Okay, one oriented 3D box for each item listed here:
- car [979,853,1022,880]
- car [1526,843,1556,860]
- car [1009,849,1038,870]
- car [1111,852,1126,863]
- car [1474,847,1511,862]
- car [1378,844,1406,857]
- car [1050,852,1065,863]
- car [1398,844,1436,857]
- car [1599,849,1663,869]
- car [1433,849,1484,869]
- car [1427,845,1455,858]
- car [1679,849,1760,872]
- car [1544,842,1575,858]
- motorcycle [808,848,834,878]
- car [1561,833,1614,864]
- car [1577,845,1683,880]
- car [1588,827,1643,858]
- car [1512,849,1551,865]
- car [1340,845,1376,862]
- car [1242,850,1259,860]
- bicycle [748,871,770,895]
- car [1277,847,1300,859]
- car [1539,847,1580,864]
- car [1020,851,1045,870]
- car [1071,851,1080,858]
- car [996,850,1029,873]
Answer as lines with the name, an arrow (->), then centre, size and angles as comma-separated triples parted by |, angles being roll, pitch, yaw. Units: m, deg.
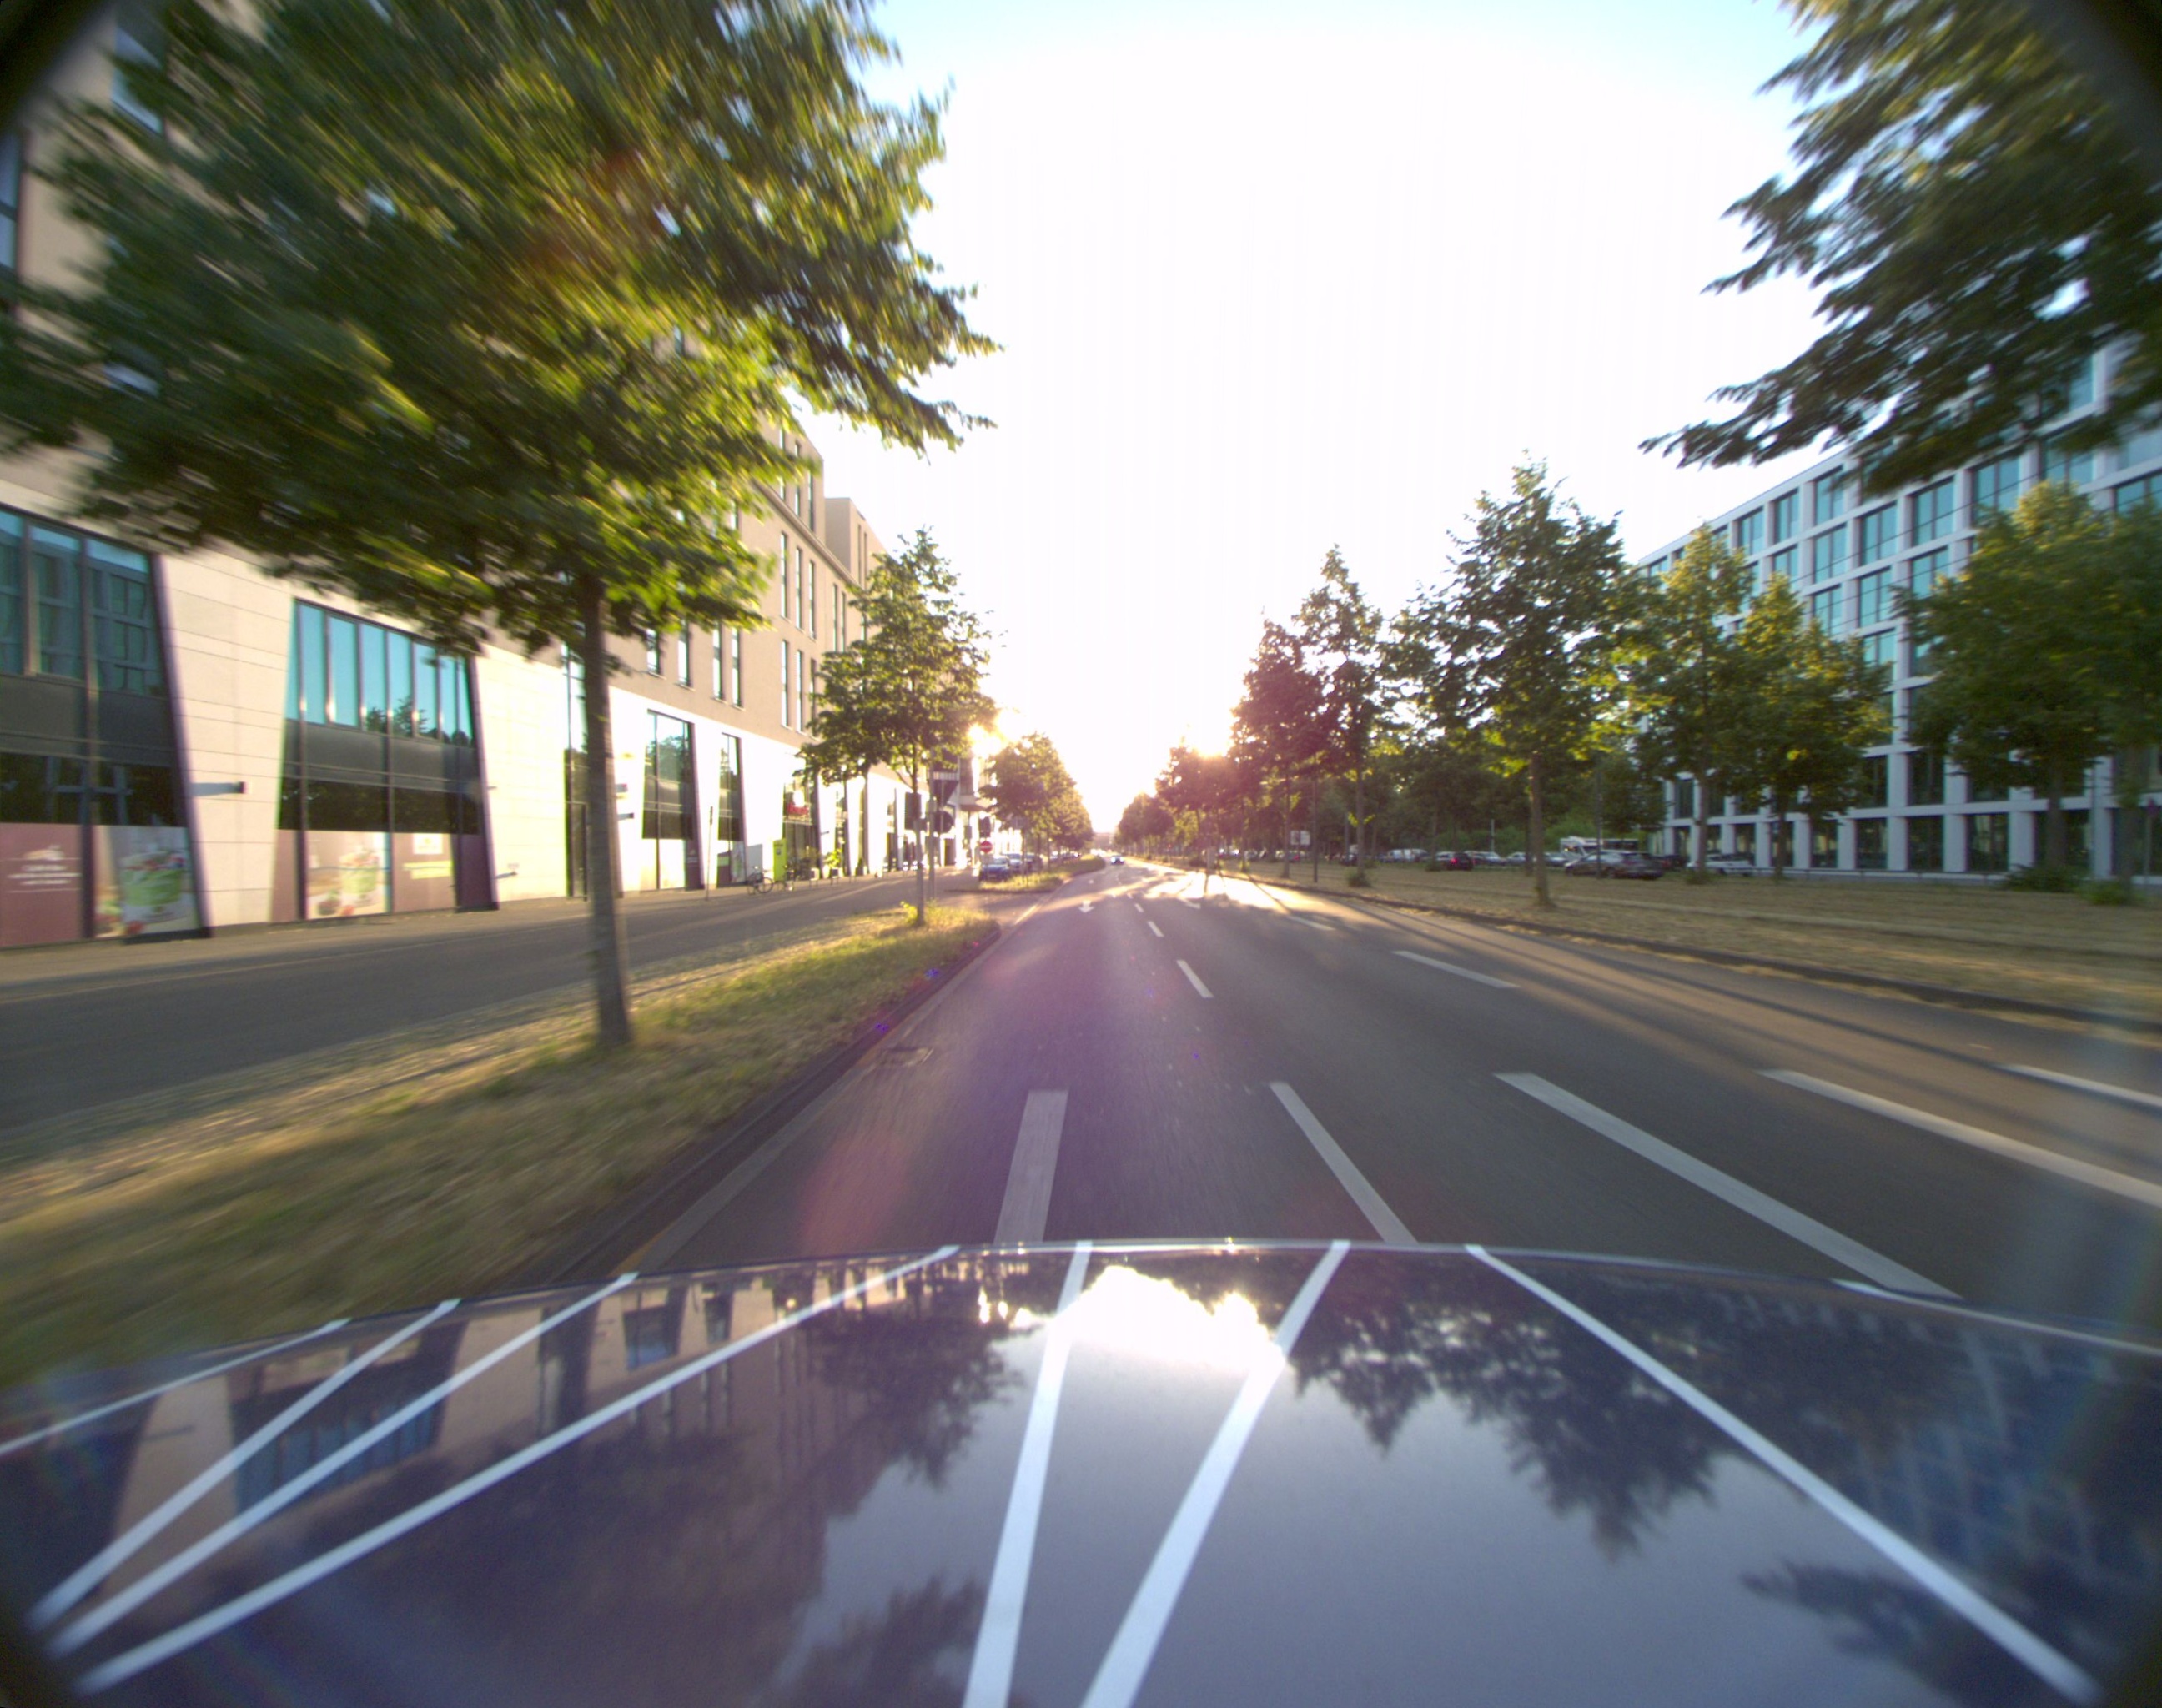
car -> -4.649, 0.702, 44.341 | 1.998, 1.455, 4.000 | -1, 1, 1
car -> 52.590, -0.303, 86.926 | 1.849, 1.802, 4.004 | 0, 1, 14
car -> -4.710, 0.430, 62.637 | 1.998, 1.595, 4.000 | -1, 1, 1
car -> 5.107, 0.501, 104.157 | 1.998, 1.474, 4.335 | -1, 1, 1
car -> 43.049, 0.027, 79.547 | 1.997, 1.583, 4.337 | 0, 1, 8
car -> 42.578, -0.447, 103.994 | 1.998, 1.731, 4.610 | -1, 1, 1
car -> -3.449, 0.466, 113.537 | 1.998, 1.595, 4.000 | -1, 1, 1
car -> 44.080, -0.450, 99.813 | 4.082, 1.731, 1.999 | -1, 1, -1
car -> 40.289, 0.307, 55.775 | 1.763, 1.395, 3.999 | -1, 1, 0
car -> 26.920, 0.346, 54.360 | 1.649, 1.395, 3.999 | -1, 1, 0
car -> 47.470, -0.388, 100.224 | 1.772, 1.696, 4.000 | -1, 1, 1
car -> 40.121, 0.365, 47.864 | 1.763, 1.395, 3.999 | -1, 1, 0
car -> 54.693, -0.447, 86.965 | 1.849, 1.802, 4.004 | 0, 1, 14
motorcycle -> -14.848, 0.483, 43.439 | 0.690, 1.689, 2.123 | -1, 1, 1
car -> 50.744, -0.585, 76.281 | 2.163, 2.974, 5.724 | 0, 1, 9
car -> 23.291, 0.330, 32.421 | 1.649, 1.395, 3.999 | -1, 1, 0
car -> 53.562, -1.111, 76.286 | 2.163, 2.974, 5.724 | 0, 1, 9
car -> 45.511, 0.299, 76.792 | 1.997, 1.583, 4.002 | 0, 1, 8
car -> 24.077, -0.076, 66.154 | 1.649, 1.395, 3.999 | -1, 1, 0
car -> 25.068, 0.153, 112.607 | 1.649, 1.395, 3.999 | -1, 1, 0
bicycle -> -12.411, 1.099, 29.231 | 0.547, 0.856, 1.573 | -1, 1, -31
car -> 24.762, -0.124, 90.821 | 1.649, 1.395, 3.999 | -1, 1, 0
car -> 48.061, 0.122, 76.332 | 1.997, 1.583, 4.002 | 0, 1, 8
car -> -4.390, 0.560, 69.665 | 1.998, 1.595, 4.000 | -1, 1, 1
car -> -1.295, 0.161, 184.424 | 1.998, 1.595, 4.000 | -1, 1, 1
car -> -4.997, 0.519, 55.704 | 1.998, 1.595, 4.000 | -1, 1, 1
